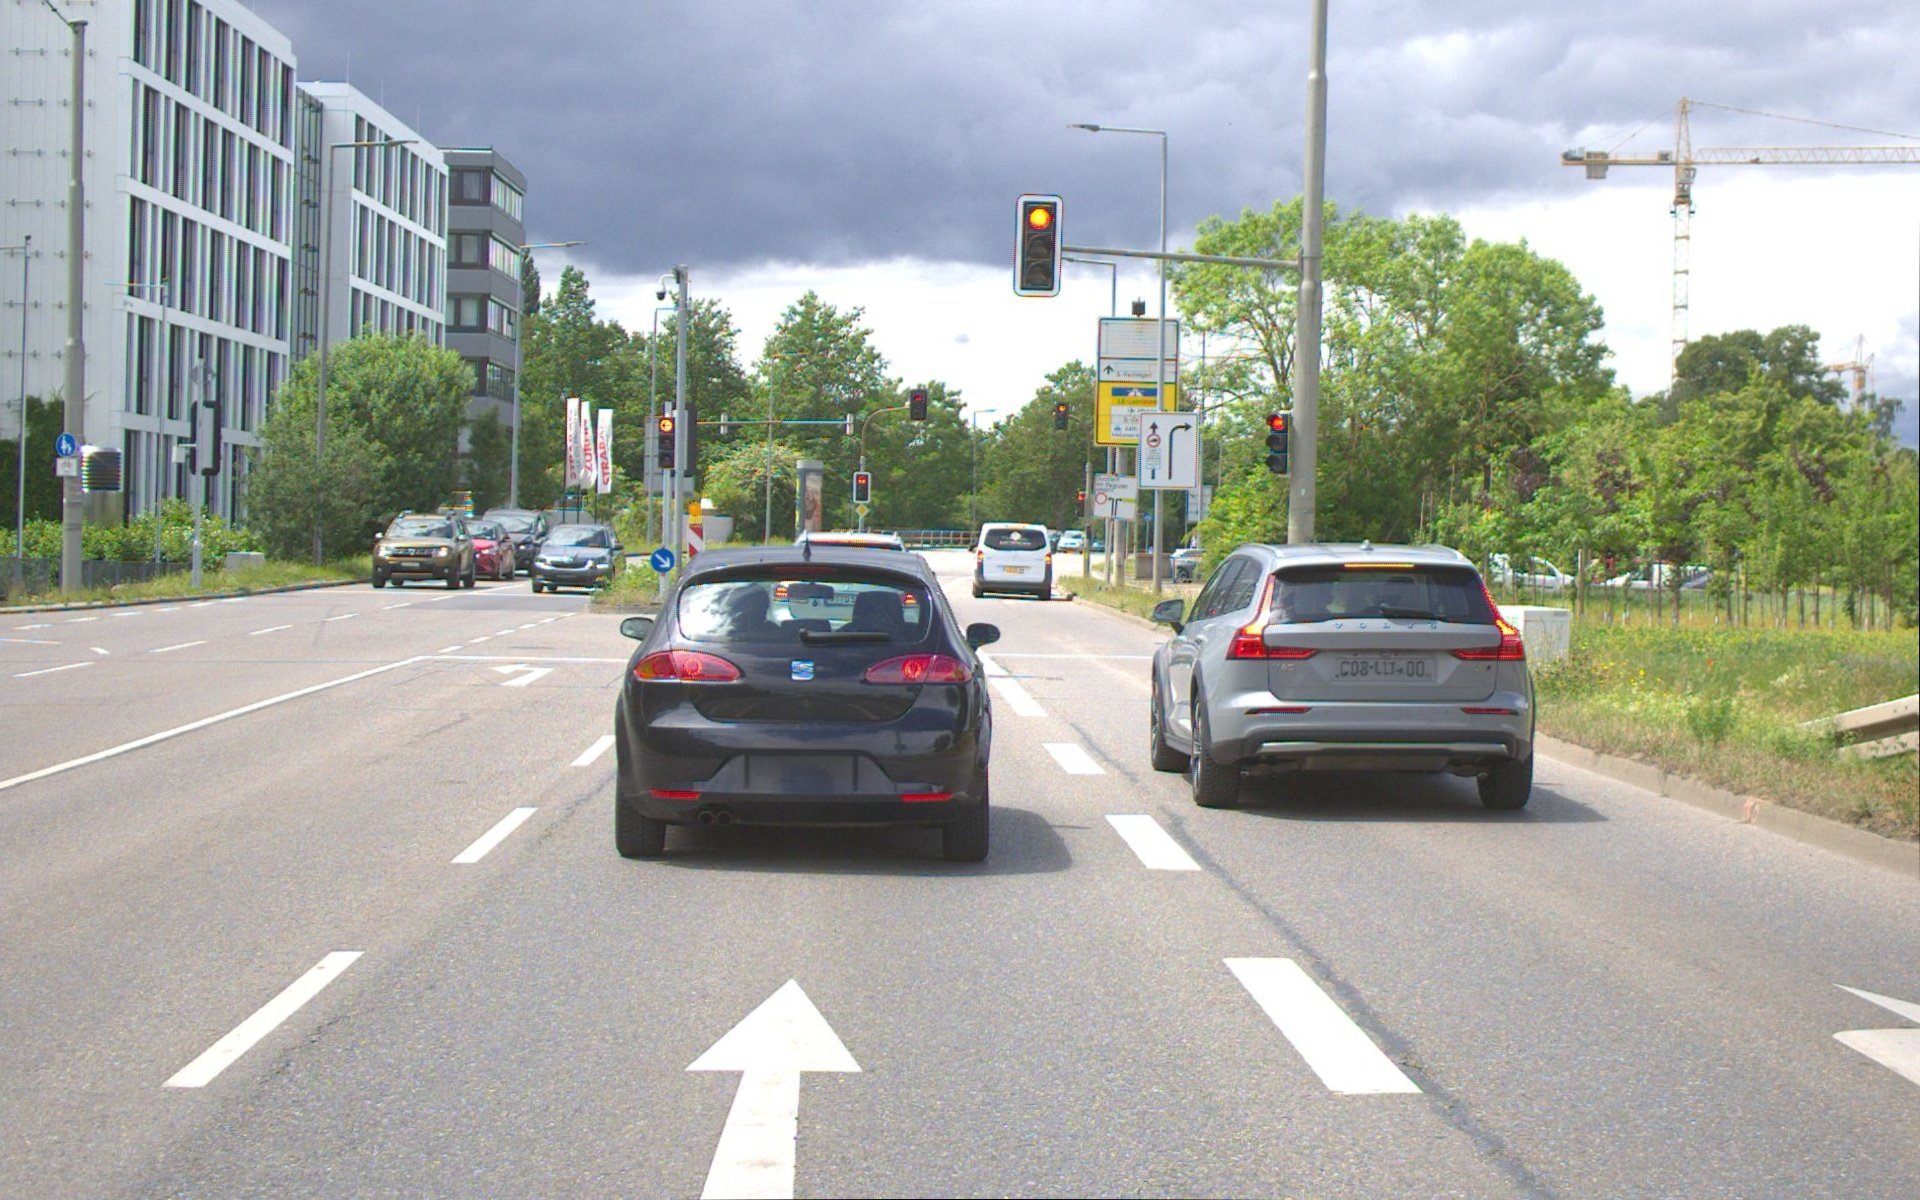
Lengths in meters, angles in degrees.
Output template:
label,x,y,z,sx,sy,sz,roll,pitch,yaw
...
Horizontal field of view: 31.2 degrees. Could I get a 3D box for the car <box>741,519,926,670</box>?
label,x,y,z,sx,sy,sz,roll,pitch,yaw
car,-1.473,-0.113,39.713,1.983,1.584,4.227,2,1,-2

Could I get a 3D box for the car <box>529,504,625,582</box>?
label,x,y,z,sx,sy,sz,roll,pitch,yaw
car,-8.014,-1.225,72.209,1.668,1.519,4.009,-1,2,-2

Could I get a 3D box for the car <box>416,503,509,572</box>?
label,x,y,z,sx,sy,sz,roll,pitch,yaw
car,-12.079,-1.513,83.634,1.776,1.606,4.000,1,1,-2

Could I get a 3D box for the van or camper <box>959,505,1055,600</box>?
label,x,y,z,sx,sy,sz,roll,pitch,yaw
van or camper,1.135,-1.144,84.828,1.899,1.920,4.000,1,-5,-6

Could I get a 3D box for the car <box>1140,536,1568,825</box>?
label,x,y,z,sx,sy,sz,roll,pitch,yaw
car,2.198,0.403,20.354,1.958,1.520,4.340,0,1,-1

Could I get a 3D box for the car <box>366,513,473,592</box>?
label,x,y,z,sx,sy,sz,roll,pitch,yaw
car,-11.522,-1.022,73.523,1.751,1.625,4.000,-1,1,-2

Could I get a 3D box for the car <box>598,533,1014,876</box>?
label,x,y,z,sx,sy,sz,roll,pitch,yaw
car,-0.641,0.434,16.958,1.748,1.479,4.000,0,1,2
